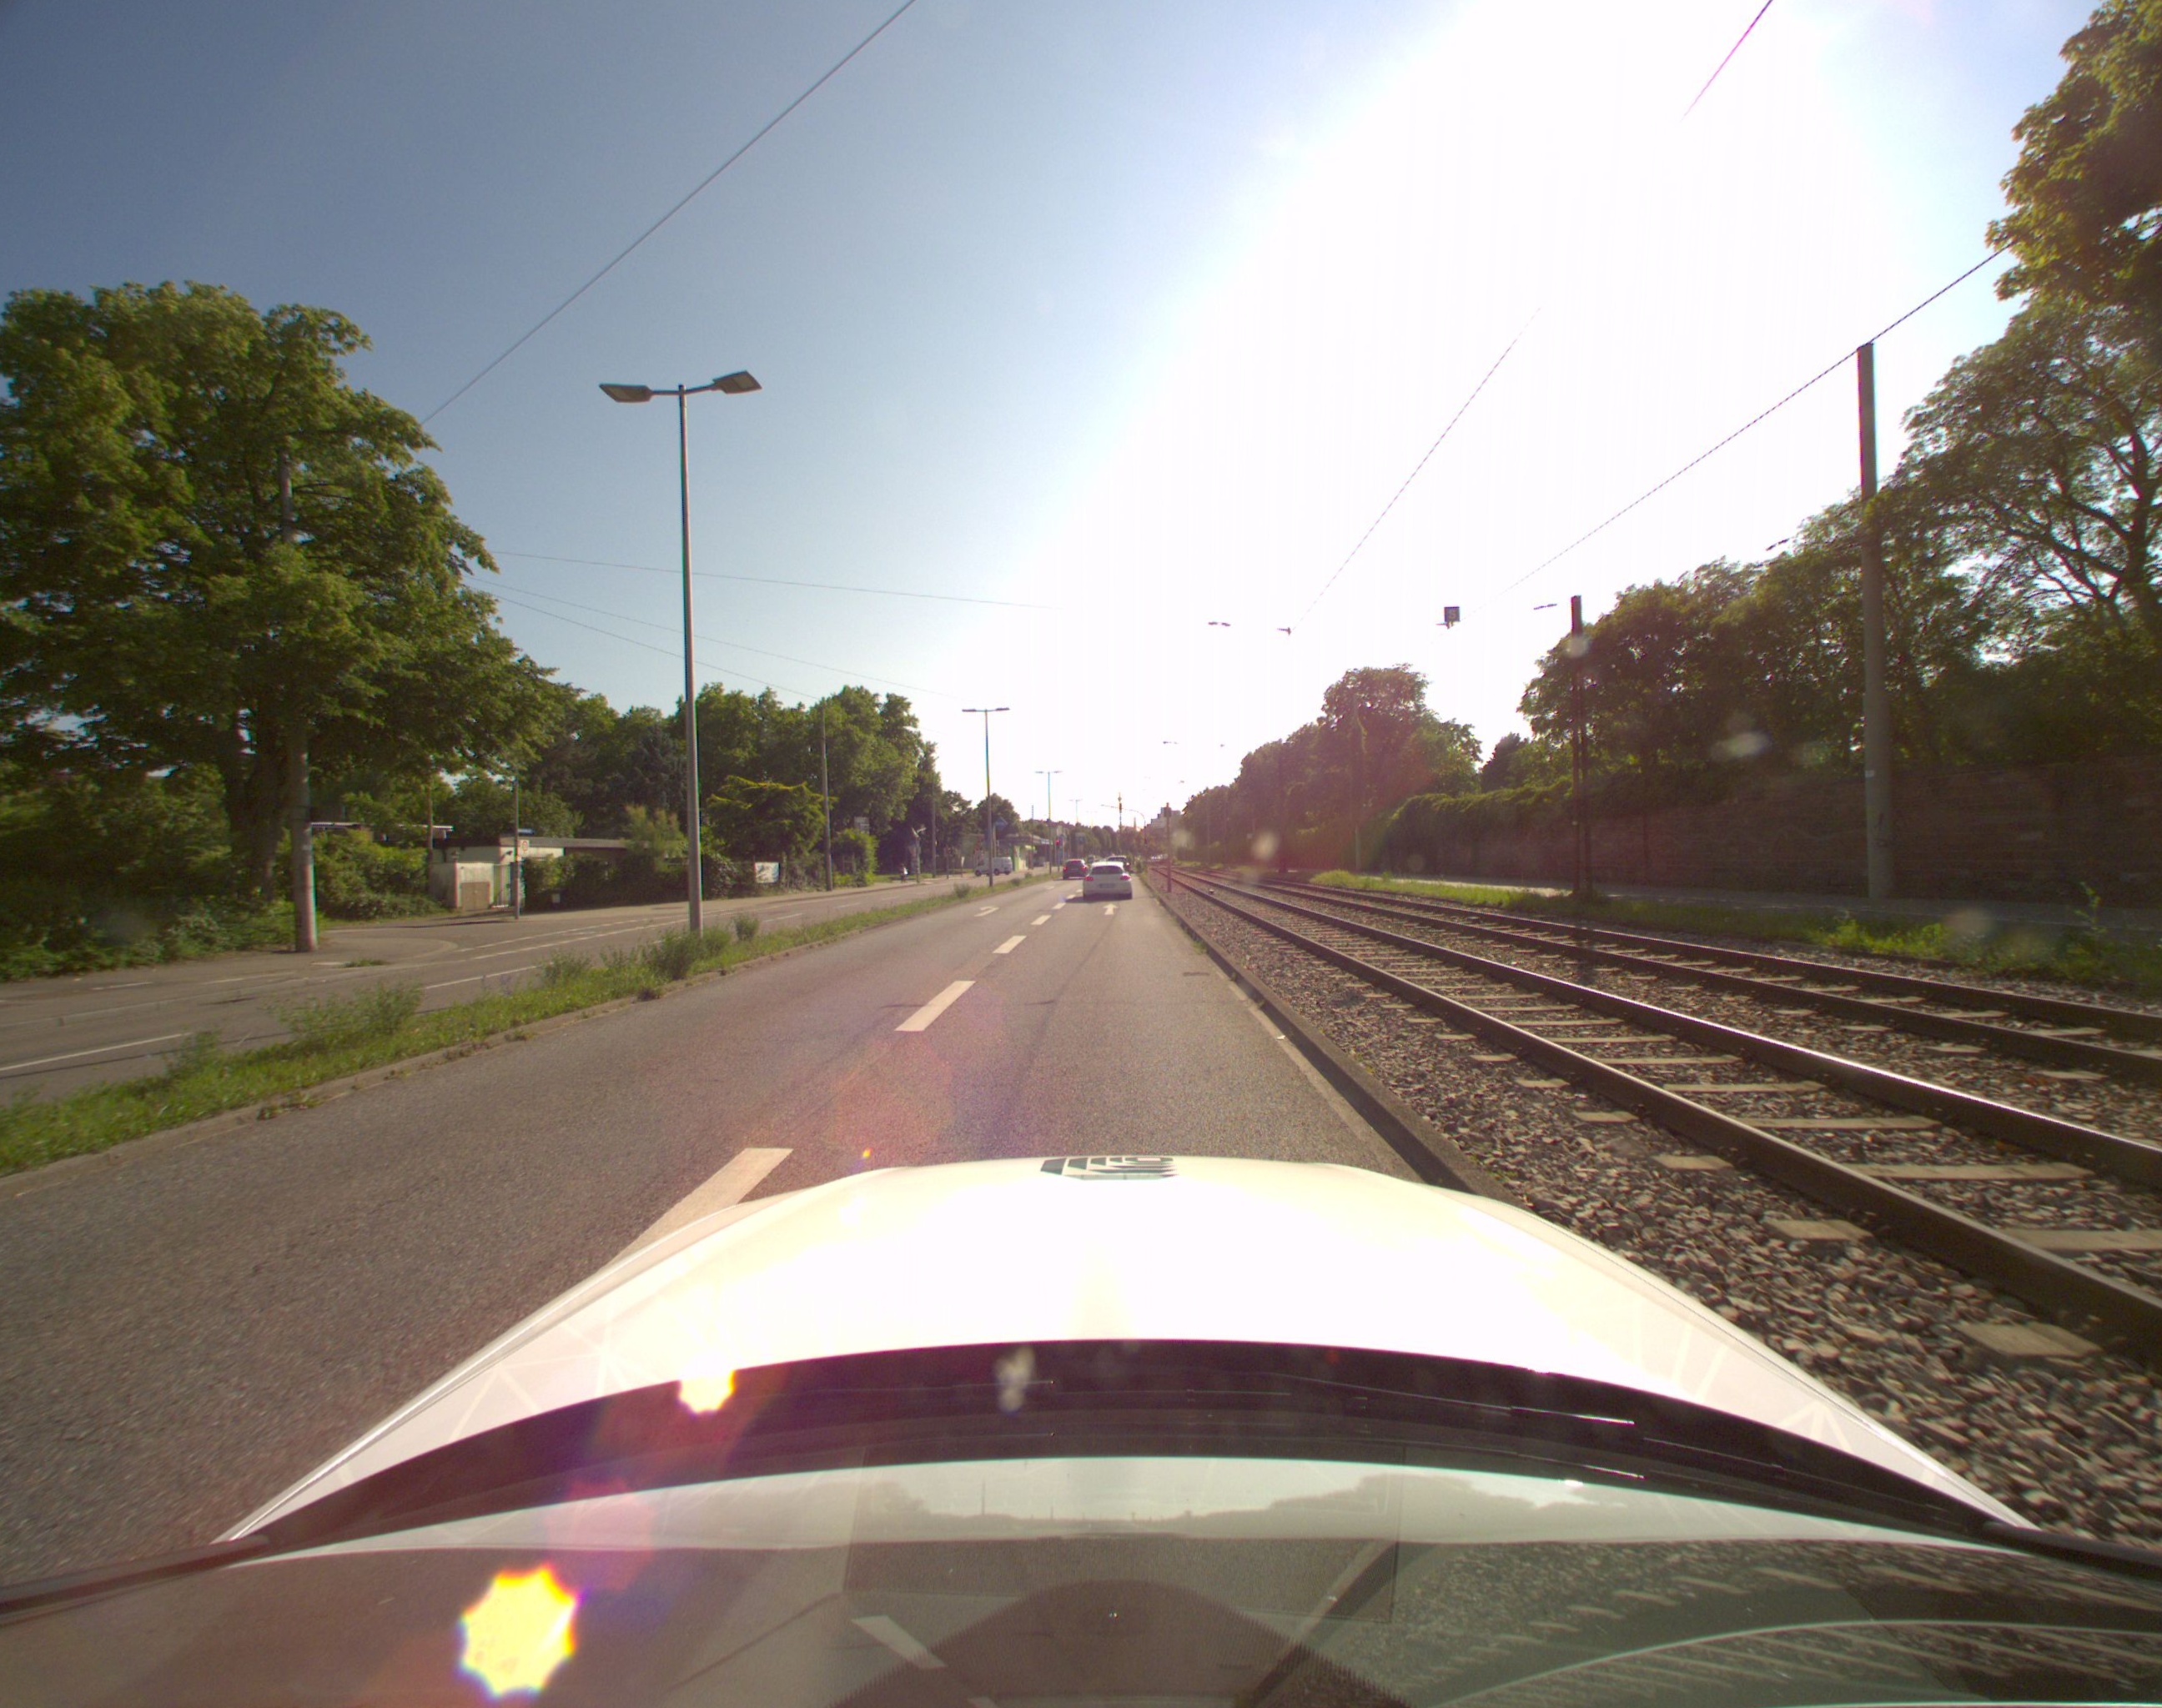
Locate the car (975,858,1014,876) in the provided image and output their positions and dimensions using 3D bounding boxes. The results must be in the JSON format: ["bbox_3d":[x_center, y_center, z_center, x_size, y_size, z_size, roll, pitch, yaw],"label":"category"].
[{"bbox_3d":[-9.955,1.501,93.457,4.345,1.963,1.835,-3,-1,39],"label":"car"}]

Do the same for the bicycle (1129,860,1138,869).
[{"bbox_3d":[6.533,1.306,101.000,0.638,1.154,1.946,-2,0,18],"label":"bicycle"}]

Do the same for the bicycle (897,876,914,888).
[{"bbox_3d":[-15.609,2.486,72.612,0.658,1.049,2.585,-2,-1,7],"label":"bicycle"}]

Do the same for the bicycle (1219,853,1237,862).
[{"bbox_3d":[18.201,0.429,100.958,1.903,1.115,0.953,-2,-1,28],"label":"bicycle"}]

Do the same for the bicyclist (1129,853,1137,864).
[{"bbox_3d":[6.455,0.552,100.999,0.638,1.416,1.017,-5,-2,18],"label":"bicyclist"}]

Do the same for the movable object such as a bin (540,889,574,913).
[{"bbox_3d":[-22.400,1.997,34.823,0.813,0.931,0.853,-2,0,2],"label":"movable object such as a bin"}]

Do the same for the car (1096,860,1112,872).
[{"bbox_3d":[2.783,1.440,97.949,1.740,1.486,3.606,0,0,5],"label":"car"}]

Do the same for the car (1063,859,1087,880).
[{"bbox_3d":[-0.420,1.132,60.944,1.754,1.486,4.644,0,0,0],"label":"car"}]

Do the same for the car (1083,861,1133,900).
[{"bbox_3d":[1.044,0.962,30.829,1.773,1.356,3.604,0,0,3],"label":"car"}]

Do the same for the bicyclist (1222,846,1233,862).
[{"bbox_3d":[18.218,0.006,100.948,1.023,1.993,0.953,-2,-1,28],"label":"bicyclist"}]

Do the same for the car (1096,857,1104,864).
[{"bbox_3d":[4.263,1.482,183.169,1.646,1.395,4.138,-2,0,3],"label":"car"}]

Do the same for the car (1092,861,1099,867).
[{"bbox_3d":[3.599,2.545,200.983,1.566,1.417,3.337,-2,0,4],"label":"car"}]

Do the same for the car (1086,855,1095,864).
[{"bbox_3d":[2.634,1.581,231.328,1.983,2.376,4.547,-2,0,7],"label":"car"}]

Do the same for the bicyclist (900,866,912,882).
[{"bbox_3d":[-15.625,1.787,72.718,0.658,1.452,1.053,-2,-1,7],"label":"bicyclist"}]

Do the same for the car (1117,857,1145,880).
[{"bbox_3d":[3.460,0.980,56.395,1.719,1.593,3.600,0,0,0],"label":"car"}]
